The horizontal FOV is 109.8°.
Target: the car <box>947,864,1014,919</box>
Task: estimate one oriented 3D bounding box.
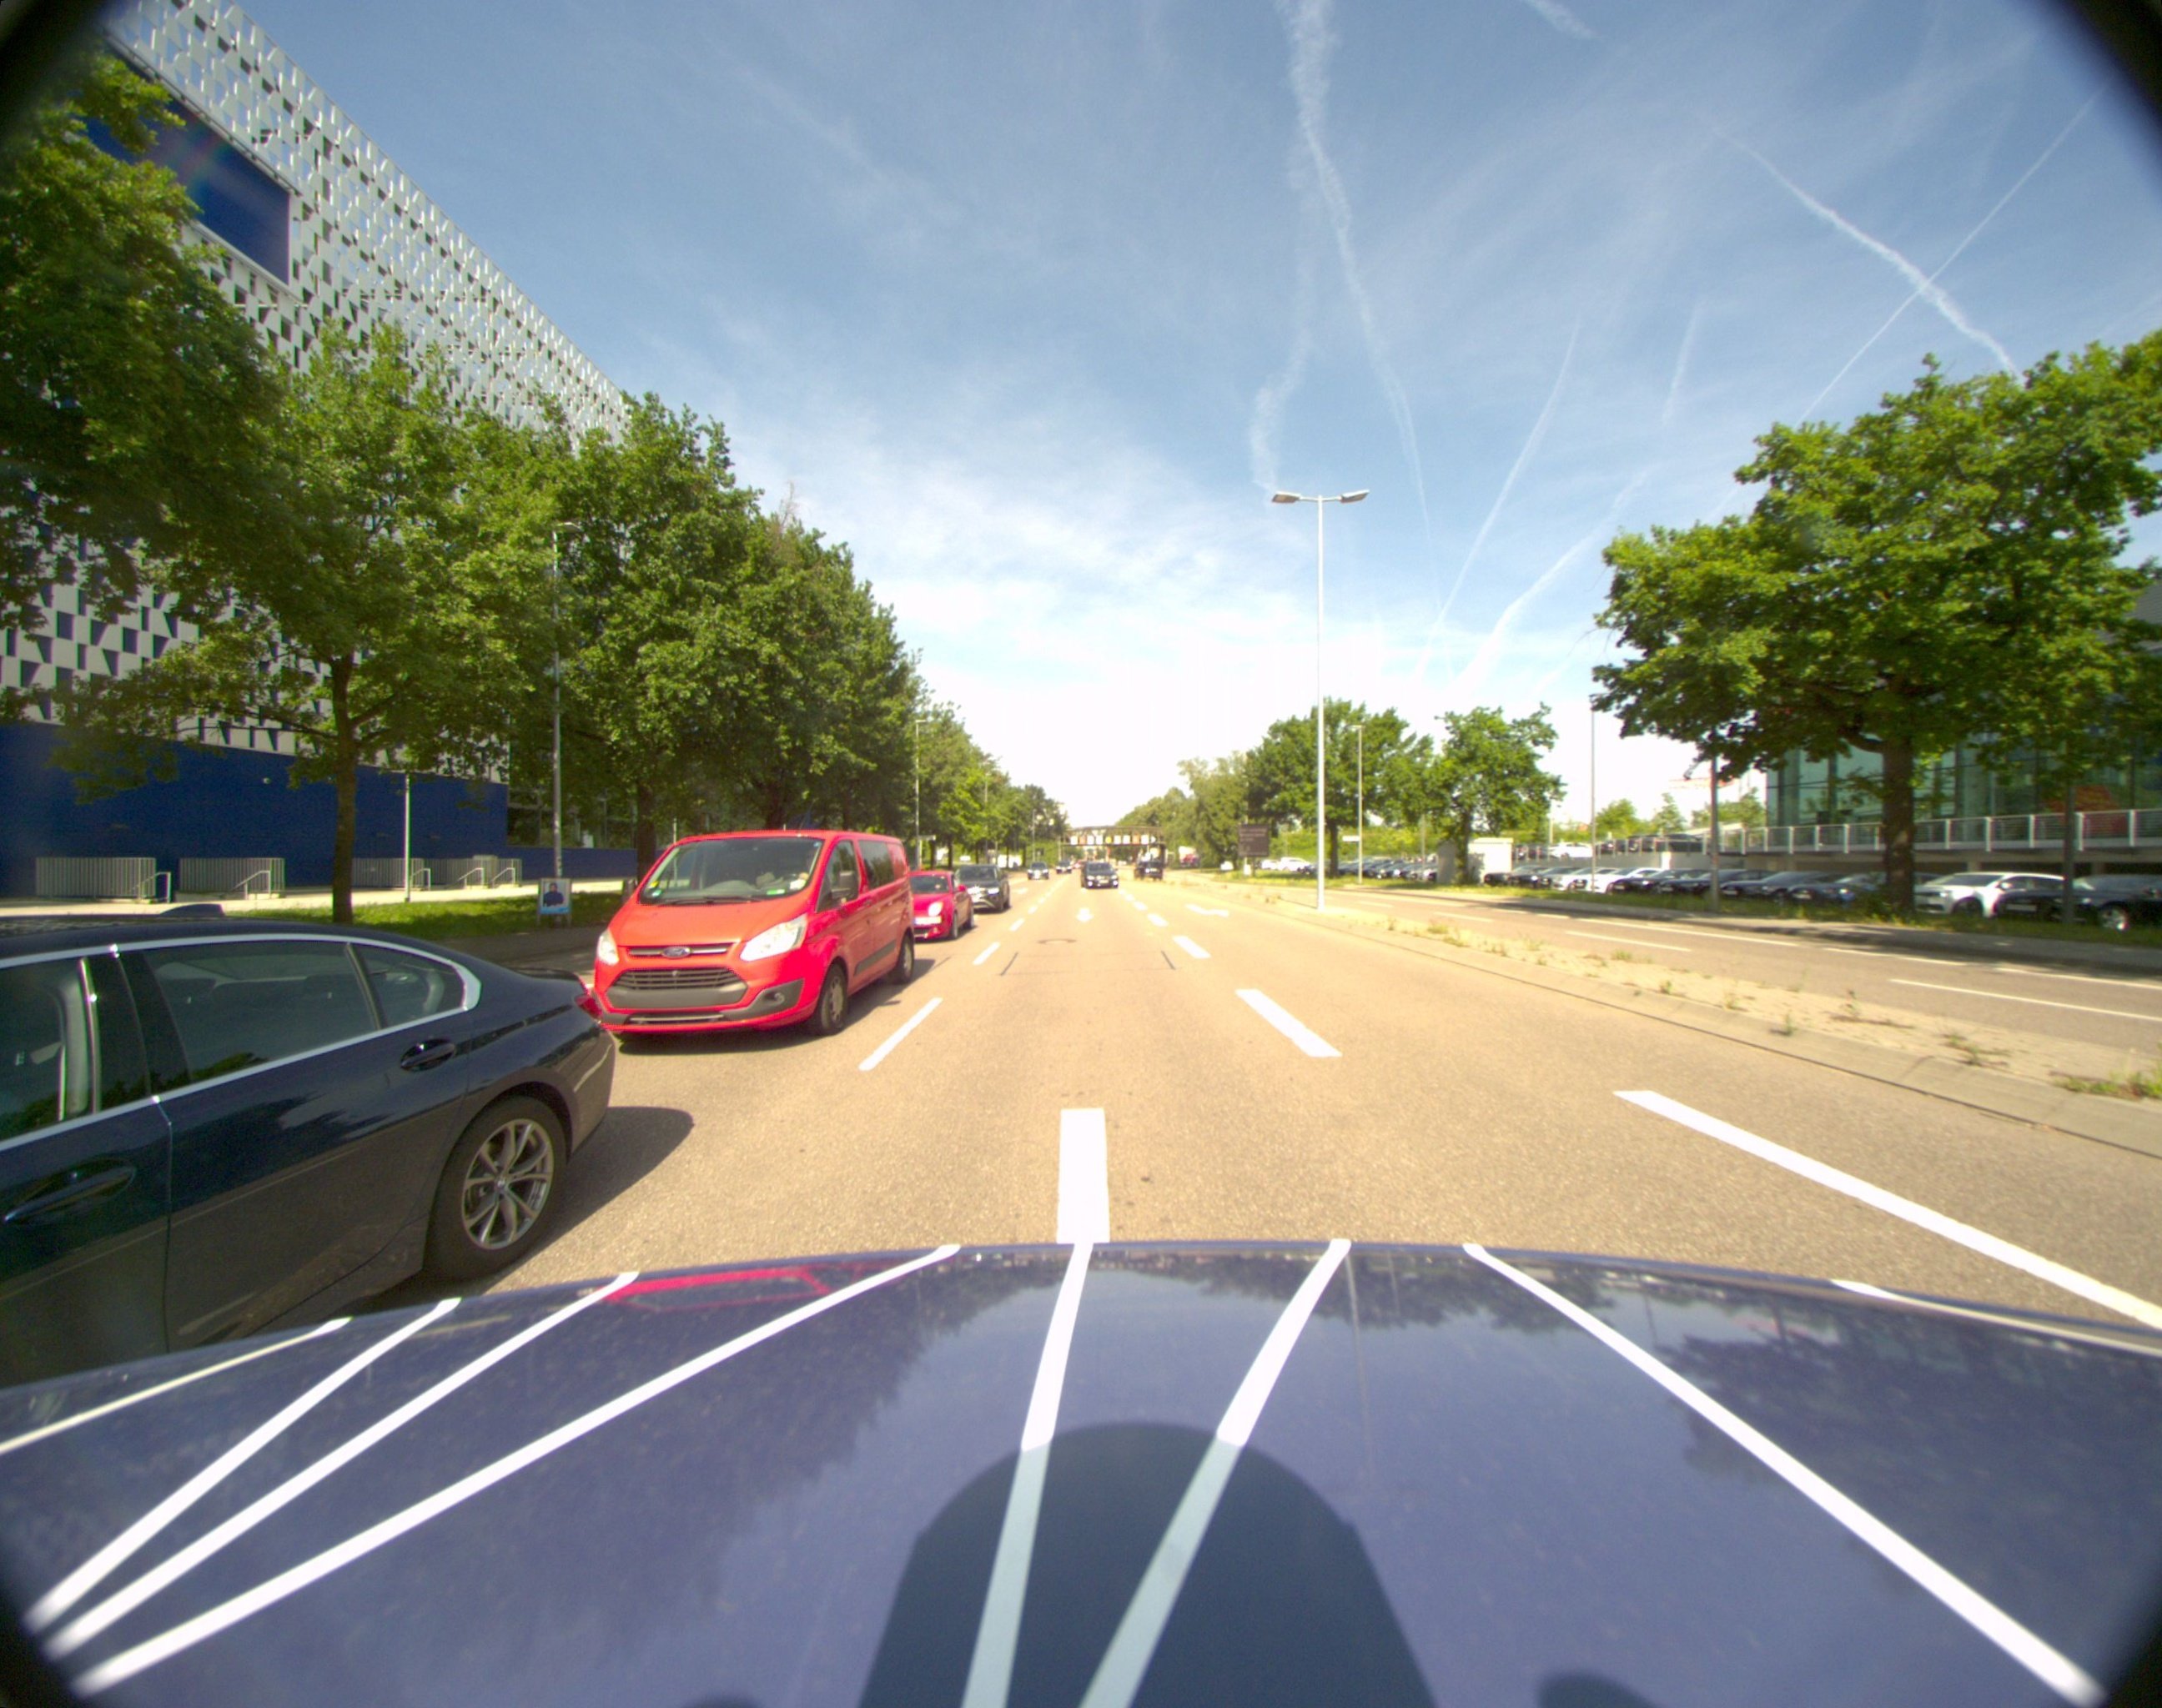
[{"bbox_3d":[-3.164,1.133,24.613,1.649,1.530,4.000,-3,0,-1],"label":"car"}]

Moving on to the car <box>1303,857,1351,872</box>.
[{"bbox_3d":[24.537,1.065,75.886,4.196,1.315,1.690,3,0,1],"label":"car"}]

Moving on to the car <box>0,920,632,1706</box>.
[{"bbox_3d":[-3.115,1.043,1.451,1.800,1.420,4.538,-1,0,0],"label":"car"}]

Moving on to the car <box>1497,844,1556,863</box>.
[{"bbox_3d":[40.304,-0.008,68.810,4.196,1.490,1.690,3,0,1],"label":"car"}]

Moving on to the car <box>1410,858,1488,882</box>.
[{"bbox_3d":[24.079,1.021,49.836,4.196,1.315,1.690,3,0,1],"label":"car"}]

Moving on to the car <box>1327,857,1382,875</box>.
[{"bbox_3d":[24.501,1.070,68.153,4.196,1.315,1.690,3,0,1],"label":"car"}]

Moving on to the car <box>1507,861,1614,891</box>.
[{"bbox_3d":[23.760,1.071,37.730,4.196,1.239,1.690,3,0,1],"label":"car"}]

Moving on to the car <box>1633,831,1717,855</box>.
[{"bbox_3d":[39.829,-0.705,50.981,4.196,1.397,1.690,3,0,1],"label":"car"}]

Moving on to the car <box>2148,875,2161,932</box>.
[{"bbox_3d":[23.556,1.084,14.368,4.196,1.116,1.719,3,0,1],"label":"car"}]

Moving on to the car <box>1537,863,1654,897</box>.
[{"bbox_3d":[23.731,1.174,35.131,4.196,1.317,1.690,3,0,1],"label":"car"}]

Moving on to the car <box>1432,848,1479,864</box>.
[{"bbox_3d":[40.471,0.205,82.224,4.196,1.490,1.690,3,0,1],"label":"car"}]

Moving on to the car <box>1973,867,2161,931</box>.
[{"bbox_3d":[23.389,1.036,17.228,4.196,1.239,1.690,3,0,1],"label":"car"}]

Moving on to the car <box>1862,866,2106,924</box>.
[{"bbox_3d":[23.306,1.030,19.726,4.196,1.188,1.690,3,0,1],"label":"car"}]

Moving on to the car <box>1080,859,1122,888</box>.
[{"bbox_3d":[1.065,1.044,42.396,1.883,1.513,4.867,-2,0,-3],"label":"car"}]

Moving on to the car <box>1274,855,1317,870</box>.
[{"bbox_3d":[23.745,0.935,84.119,4.196,1.490,1.690,3,0,1],"label":"car"}]

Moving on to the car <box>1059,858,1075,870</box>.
[{"bbox_3d":[-1.683,1.197,92.496,1.848,1.530,4.000,0,0,0],"label":"car"}]

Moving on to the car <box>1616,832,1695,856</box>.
[{"bbox_3d":[40.510,-0.685,53.604,4.196,1.490,1.690,3,0,1],"label":"car"}]

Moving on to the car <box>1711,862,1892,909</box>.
[{"bbox_3d":[23.321,1.007,24.706,4.196,1.247,1.690,3,0,1],"label":"car"}]

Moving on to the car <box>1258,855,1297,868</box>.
[{"bbox_3d":[23.728,0.925,91.905,4.196,1.370,1.690,3,0,1],"label":"car"}]

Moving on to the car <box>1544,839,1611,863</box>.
[{"bbox_3d":[40.184,-0.226,61.527,4.196,1.722,1.690,3,0,1],"label":"car"}]

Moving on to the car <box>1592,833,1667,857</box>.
[{"bbox_3d":[40.626,-0.649,56.337,4.196,1.490,1.690,3,0,1],"label":"car"}]

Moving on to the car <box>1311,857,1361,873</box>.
[{"bbox_3d":[24.607,1.088,73.385,4.196,1.315,1.690,3,0,1],"label":"car"}]

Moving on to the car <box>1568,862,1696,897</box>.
[{"bbox_3d":[23.640,1.076,32.726,4.196,1.248,1.690,3,0,1],"label":"car"}]

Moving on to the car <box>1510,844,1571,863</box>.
[{"bbox_3d":[40.206,-0.053,66.521,4.196,1.490,1.690,3,0,1],"label":"car"}]

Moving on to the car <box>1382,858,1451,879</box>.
[{"bbox_3d":[24.057,1.043,54.597,4.196,1.315,1.690,3,0,1],"label":"car"}]

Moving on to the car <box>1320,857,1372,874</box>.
[{"bbox_3d":[24.666,1.053,70.838,4.196,1.315,1.690,3,0,1],"label":"car"}]

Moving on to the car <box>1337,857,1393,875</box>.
[{"bbox_3d":[24.497,1.044,65.616,4.196,1.315,1.690,3,0,1],"label":"car"}]

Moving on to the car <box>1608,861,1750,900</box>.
[{"bbox_3d":[23.569,1.027,30.037,4.196,1.291,1.690,3,0,1],"label":"car"}]

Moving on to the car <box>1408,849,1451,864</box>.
[{"bbox_3d":[40.456,0.258,88.323,4.196,1.490,1.690,3,0,1],"label":"car"}]

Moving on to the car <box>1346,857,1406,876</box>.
[{"bbox_3d":[24.262,1.046,62.602,4.196,1.315,1.690,3,0,1],"label":"car"}]

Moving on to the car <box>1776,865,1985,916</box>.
[{"bbox_3d":[23.206,1.028,22.181,4.196,1.198,1.690,3,0,1],"label":"car"}]

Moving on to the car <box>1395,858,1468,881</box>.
[{"bbox_3d":[24.107,1.044,52.382,4.196,1.315,1.690,3,0,1],"label":"car"}]

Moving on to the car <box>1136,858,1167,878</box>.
[{"bbox_3d":[5.591,1.101,60.449,1.867,1.503,3.999,0,0,-3],"label":"car"}]

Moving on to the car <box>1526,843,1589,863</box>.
[{"bbox_3d":[40.202,-0.073,64.186,4.196,1.490,1.690,3,0,1],"label":"car"}]

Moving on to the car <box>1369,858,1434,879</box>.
[{"bbox_3d":[24.211,1.069,57.492,4.196,1.315,1.690,3,0,1],"label":"car"}]

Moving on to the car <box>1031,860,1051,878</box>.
[{"bbox_3d":[-3.499,1.286,67.379,1.649,1.453,3.999,-2,0,-2],"label":"car"}]

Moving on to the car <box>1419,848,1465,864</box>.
[{"bbox_3d":[40.243,0.218,84.768,4.196,1.490,1.690,3,0,1],"label":"car"}]

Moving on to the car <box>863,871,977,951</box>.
[{"bbox_3d":[-3.357,1.142,16.535,1.692,1.414,3.915,-1,0,-1],"label":"car"}]

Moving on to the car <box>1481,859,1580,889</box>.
[{"bbox_3d":[23.726,1.037,40.200,4.196,1.315,1.690,3,0,1],"label":"car"}]

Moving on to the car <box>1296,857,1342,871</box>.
[{"bbox_3d":[24.584,1.031,78.677,4.196,1.315,1.690,3,0,1],"label":"car"}]

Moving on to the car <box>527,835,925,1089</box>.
[{"bbox_3d":[-3.226,0.841,8.257,2.014,1.896,4.810,-2,0,0],"label":"car"}]

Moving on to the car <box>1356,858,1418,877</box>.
[{"bbox_3d":[24.161,1.060,60.071,4.196,1.315,1.690,3,0,1],"label":"car"}]

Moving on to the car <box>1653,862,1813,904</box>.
[{"bbox_3d":[23.423,1.035,27.402,4.196,1.252,1.690,3,0,1],"label":"car"}]
